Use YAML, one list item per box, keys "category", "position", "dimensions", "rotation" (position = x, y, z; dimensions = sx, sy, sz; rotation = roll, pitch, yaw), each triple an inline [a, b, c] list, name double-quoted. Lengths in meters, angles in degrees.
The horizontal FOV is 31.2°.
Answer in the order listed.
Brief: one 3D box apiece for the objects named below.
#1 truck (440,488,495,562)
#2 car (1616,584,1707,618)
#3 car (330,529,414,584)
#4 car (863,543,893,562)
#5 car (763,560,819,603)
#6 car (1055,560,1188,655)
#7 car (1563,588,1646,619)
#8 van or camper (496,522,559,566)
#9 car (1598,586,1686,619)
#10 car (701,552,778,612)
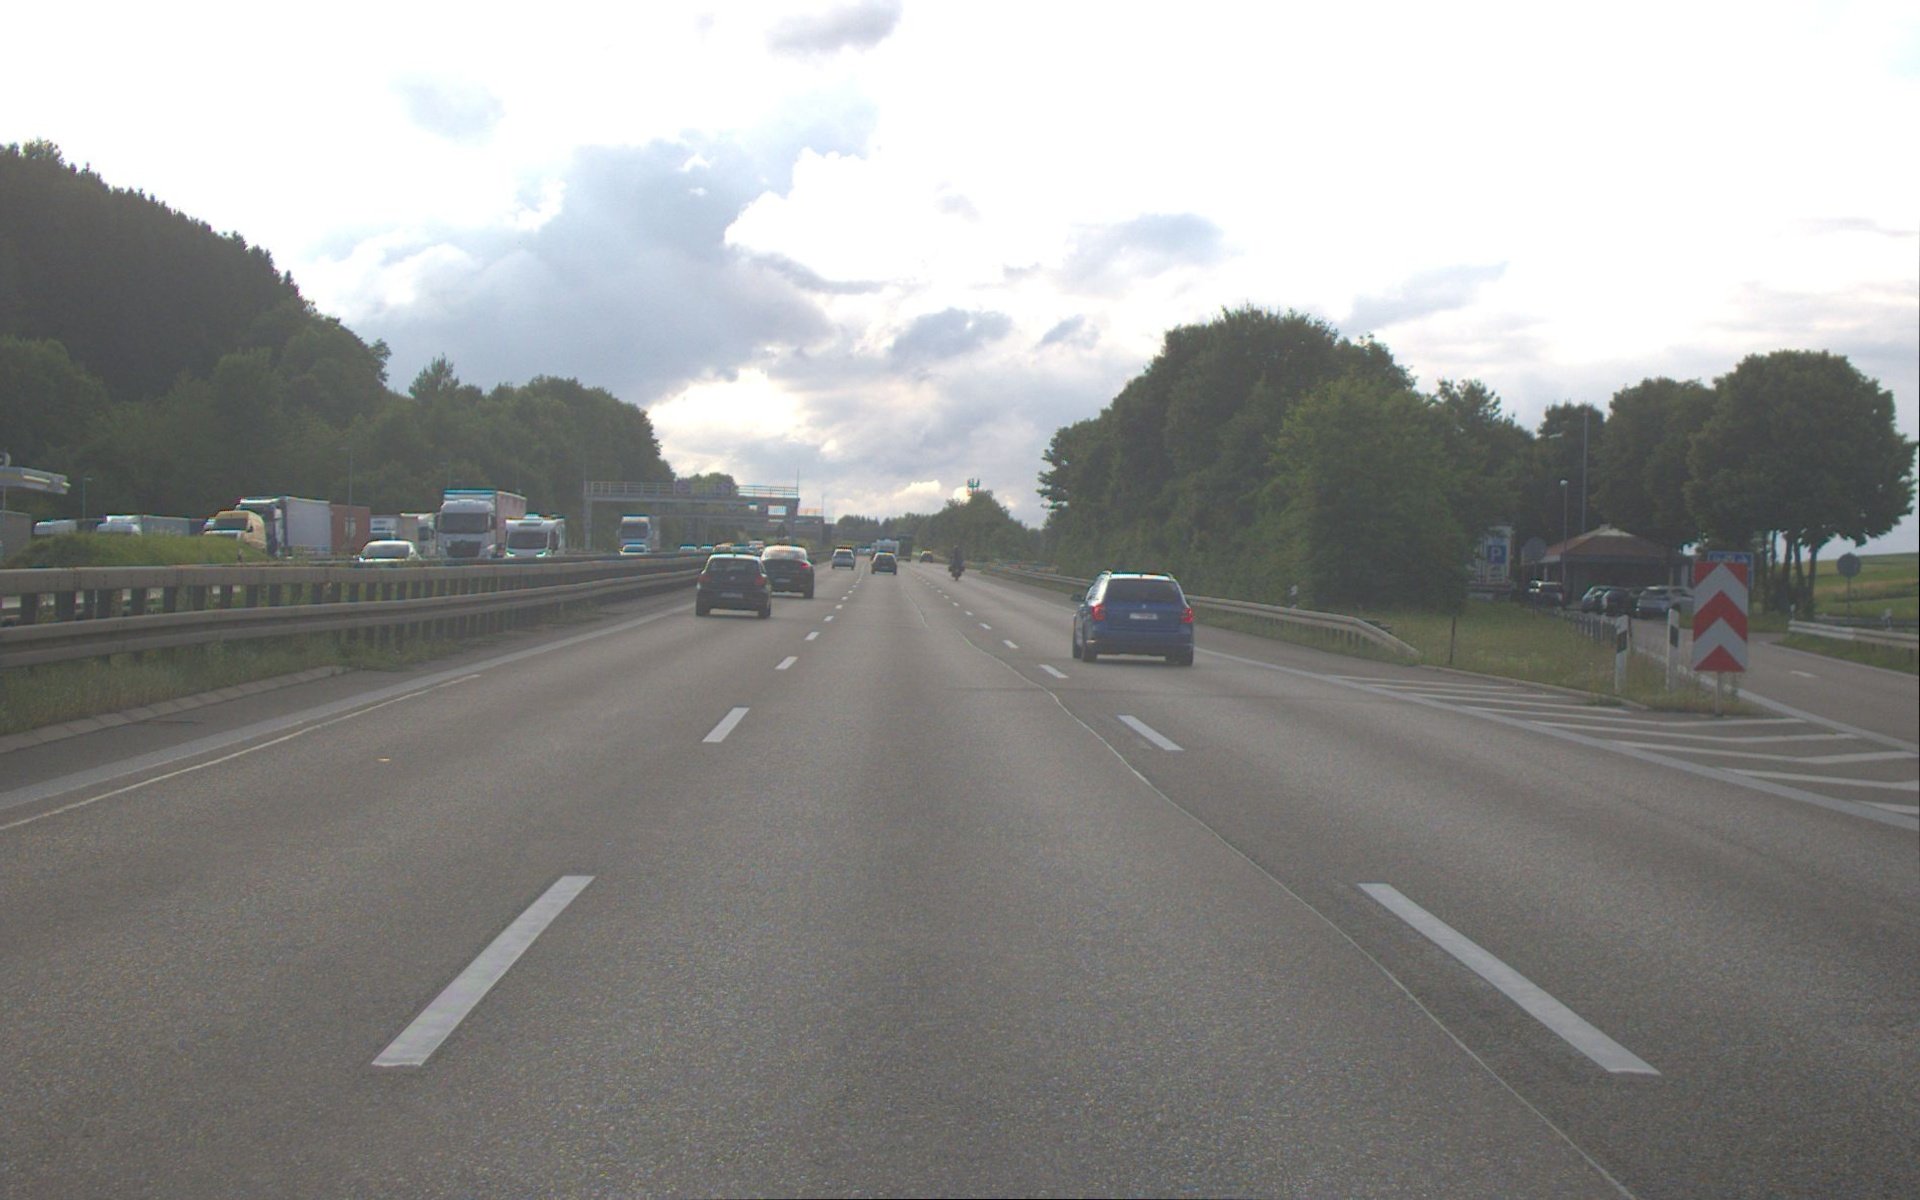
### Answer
- category: "truck"
  position: [-24.137, -3.639, 168.657]
  dimensions: [1.993, 3.402, 6.739]
  rotation: [1, 0, -2]
- category: "car"
  position: [33.198, 0.069, 162.646]
  dimensions: [4.297, 1.550, 1.989]
  rotation: [1, -1, -41]
- category: "car"
  position: [-18.281, -1.334, 107.107]
  dimensions: [1.993, 1.618, 4.000]
  rotation: [1, 0, -1]
- category: "car"
  position: [-5.688, -3.298, 237.687]
  dimensions: [1.750, 1.218, 4.001]
  rotation: [-3, 1, -5]
- category: "car"
  position: [-5.661, -0.645, 115.427]
  dimensions: [1.565, 1.376, 4.000]
  rotation: [-1, 1, 1]
- category: "car"
  position: [2.542, 0.096, 54.980]
  dimensions: [1.766, 1.428, 4.000]
  rotation: [-1, 1, -2]
- category: "car"
  position: [33.125, 0.173, 176.678]
  dimensions: [4.297, 1.550, 1.989]
  rotation: [1, -1, -41]
- category: "van or camper"
  position: [-19.439, -2.529, 154.619]
  dimensions: [2.078, 1.923, 4.344]
  rotation: [-1, 1, 3]
- category: "car"
  position: [33.360, 0.110, 168.150]
  dimensions: [4.297, 1.550, 1.989]
  rotation: [1, -1, -41]
- category: "car"
  position: [-5.124, -0.439, 80.136]
  dimensions: [1.538, 1.343, 3.677]
  rotation: [-1, 1, 0]
